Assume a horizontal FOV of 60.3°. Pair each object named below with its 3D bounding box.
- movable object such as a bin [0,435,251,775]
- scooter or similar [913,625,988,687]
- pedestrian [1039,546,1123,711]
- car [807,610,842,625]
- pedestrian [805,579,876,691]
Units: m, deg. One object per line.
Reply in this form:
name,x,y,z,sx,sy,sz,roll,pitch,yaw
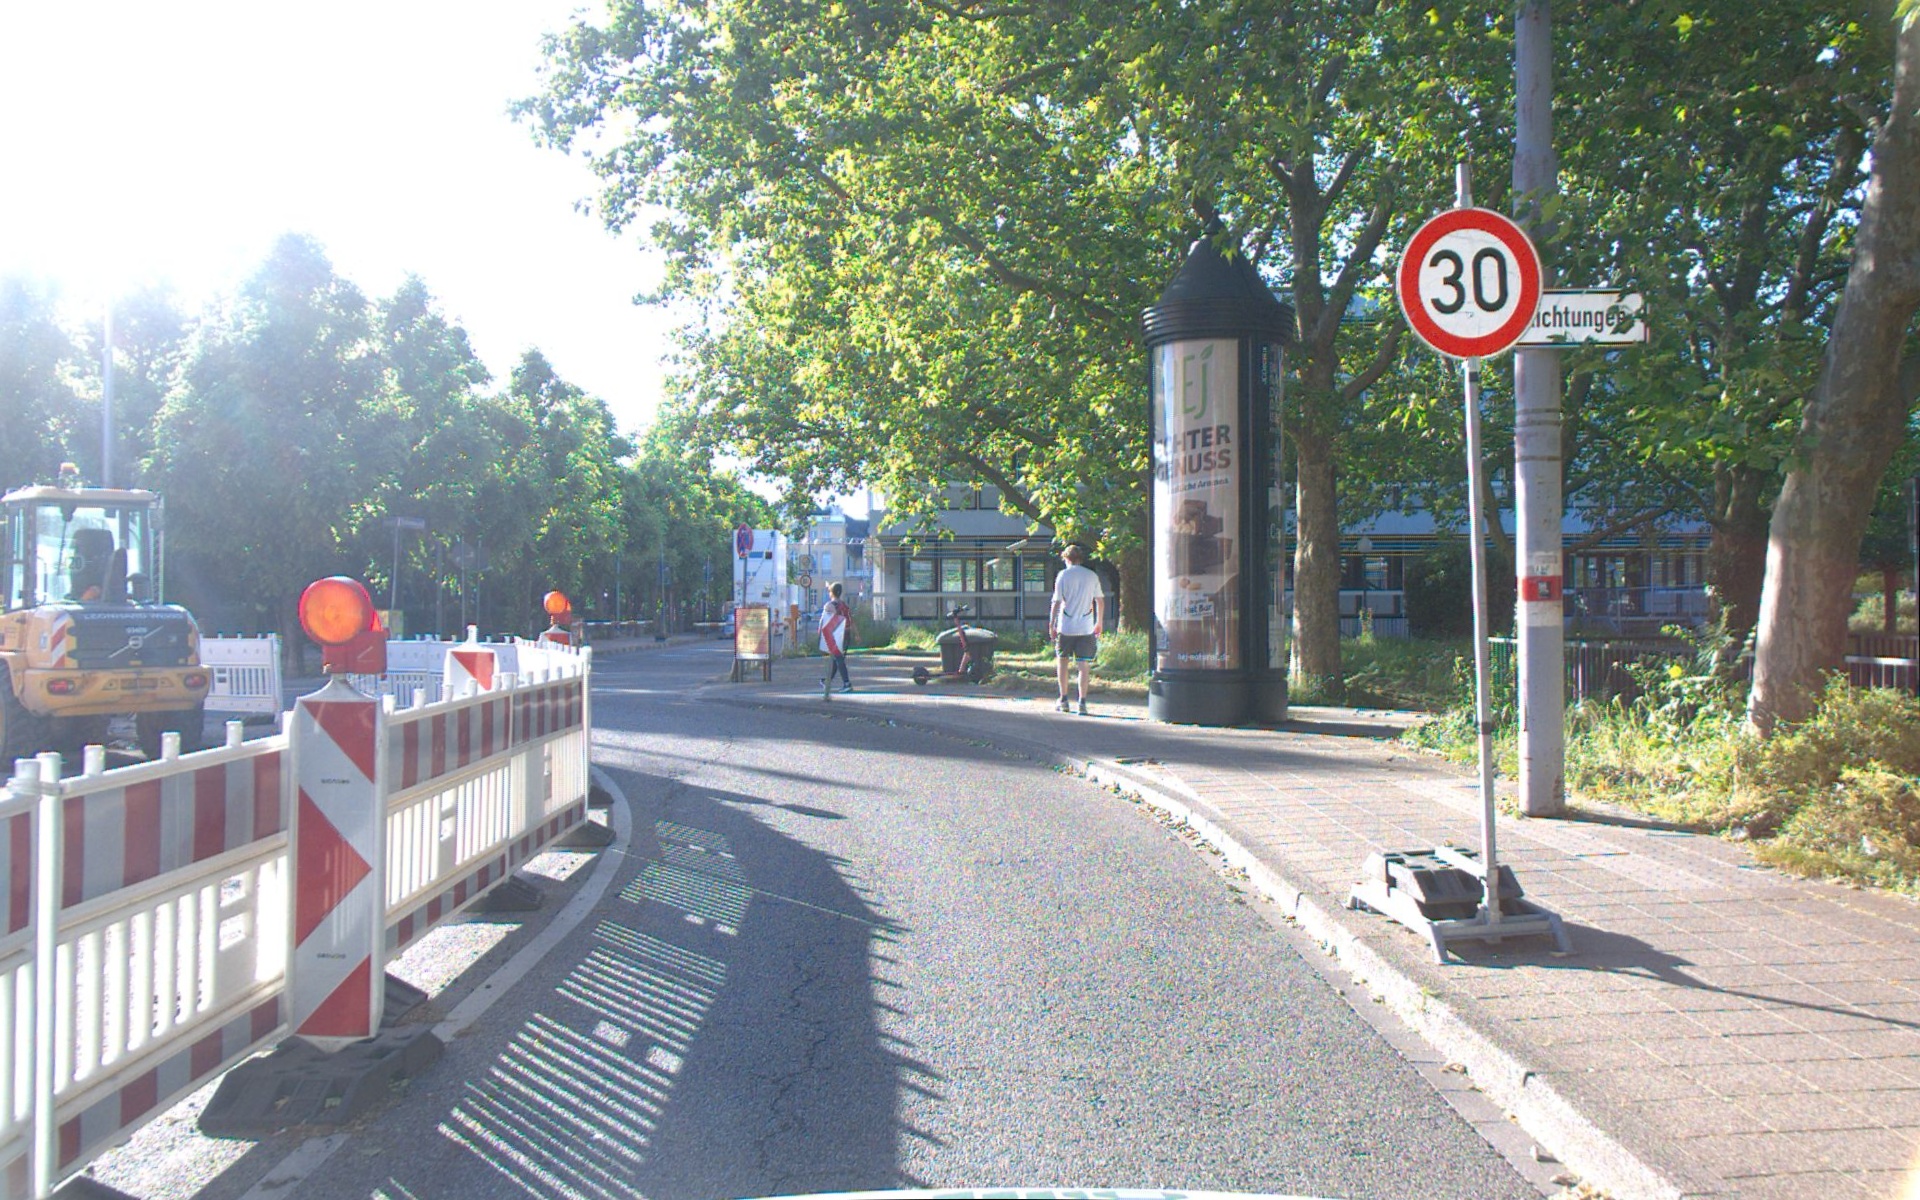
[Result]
movable object such as a bin,-10.180,0.080,17.760,5.826,3.084,2.551,-1,0,43
scooter or similar,-0.152,0.893,26.457,1.126,0.930,0.418,-2,-1,-9
pedestrian,1.396,0.322,19.238,0.730,1.844,1.132,1,-1,-7
car,-17.384,2.215,212.640,4.466,1.822,1.999,1,0,-3
pedestrian,-1.800,0.523,24.877,0.702,1.652,0.928,0,-1,-33
